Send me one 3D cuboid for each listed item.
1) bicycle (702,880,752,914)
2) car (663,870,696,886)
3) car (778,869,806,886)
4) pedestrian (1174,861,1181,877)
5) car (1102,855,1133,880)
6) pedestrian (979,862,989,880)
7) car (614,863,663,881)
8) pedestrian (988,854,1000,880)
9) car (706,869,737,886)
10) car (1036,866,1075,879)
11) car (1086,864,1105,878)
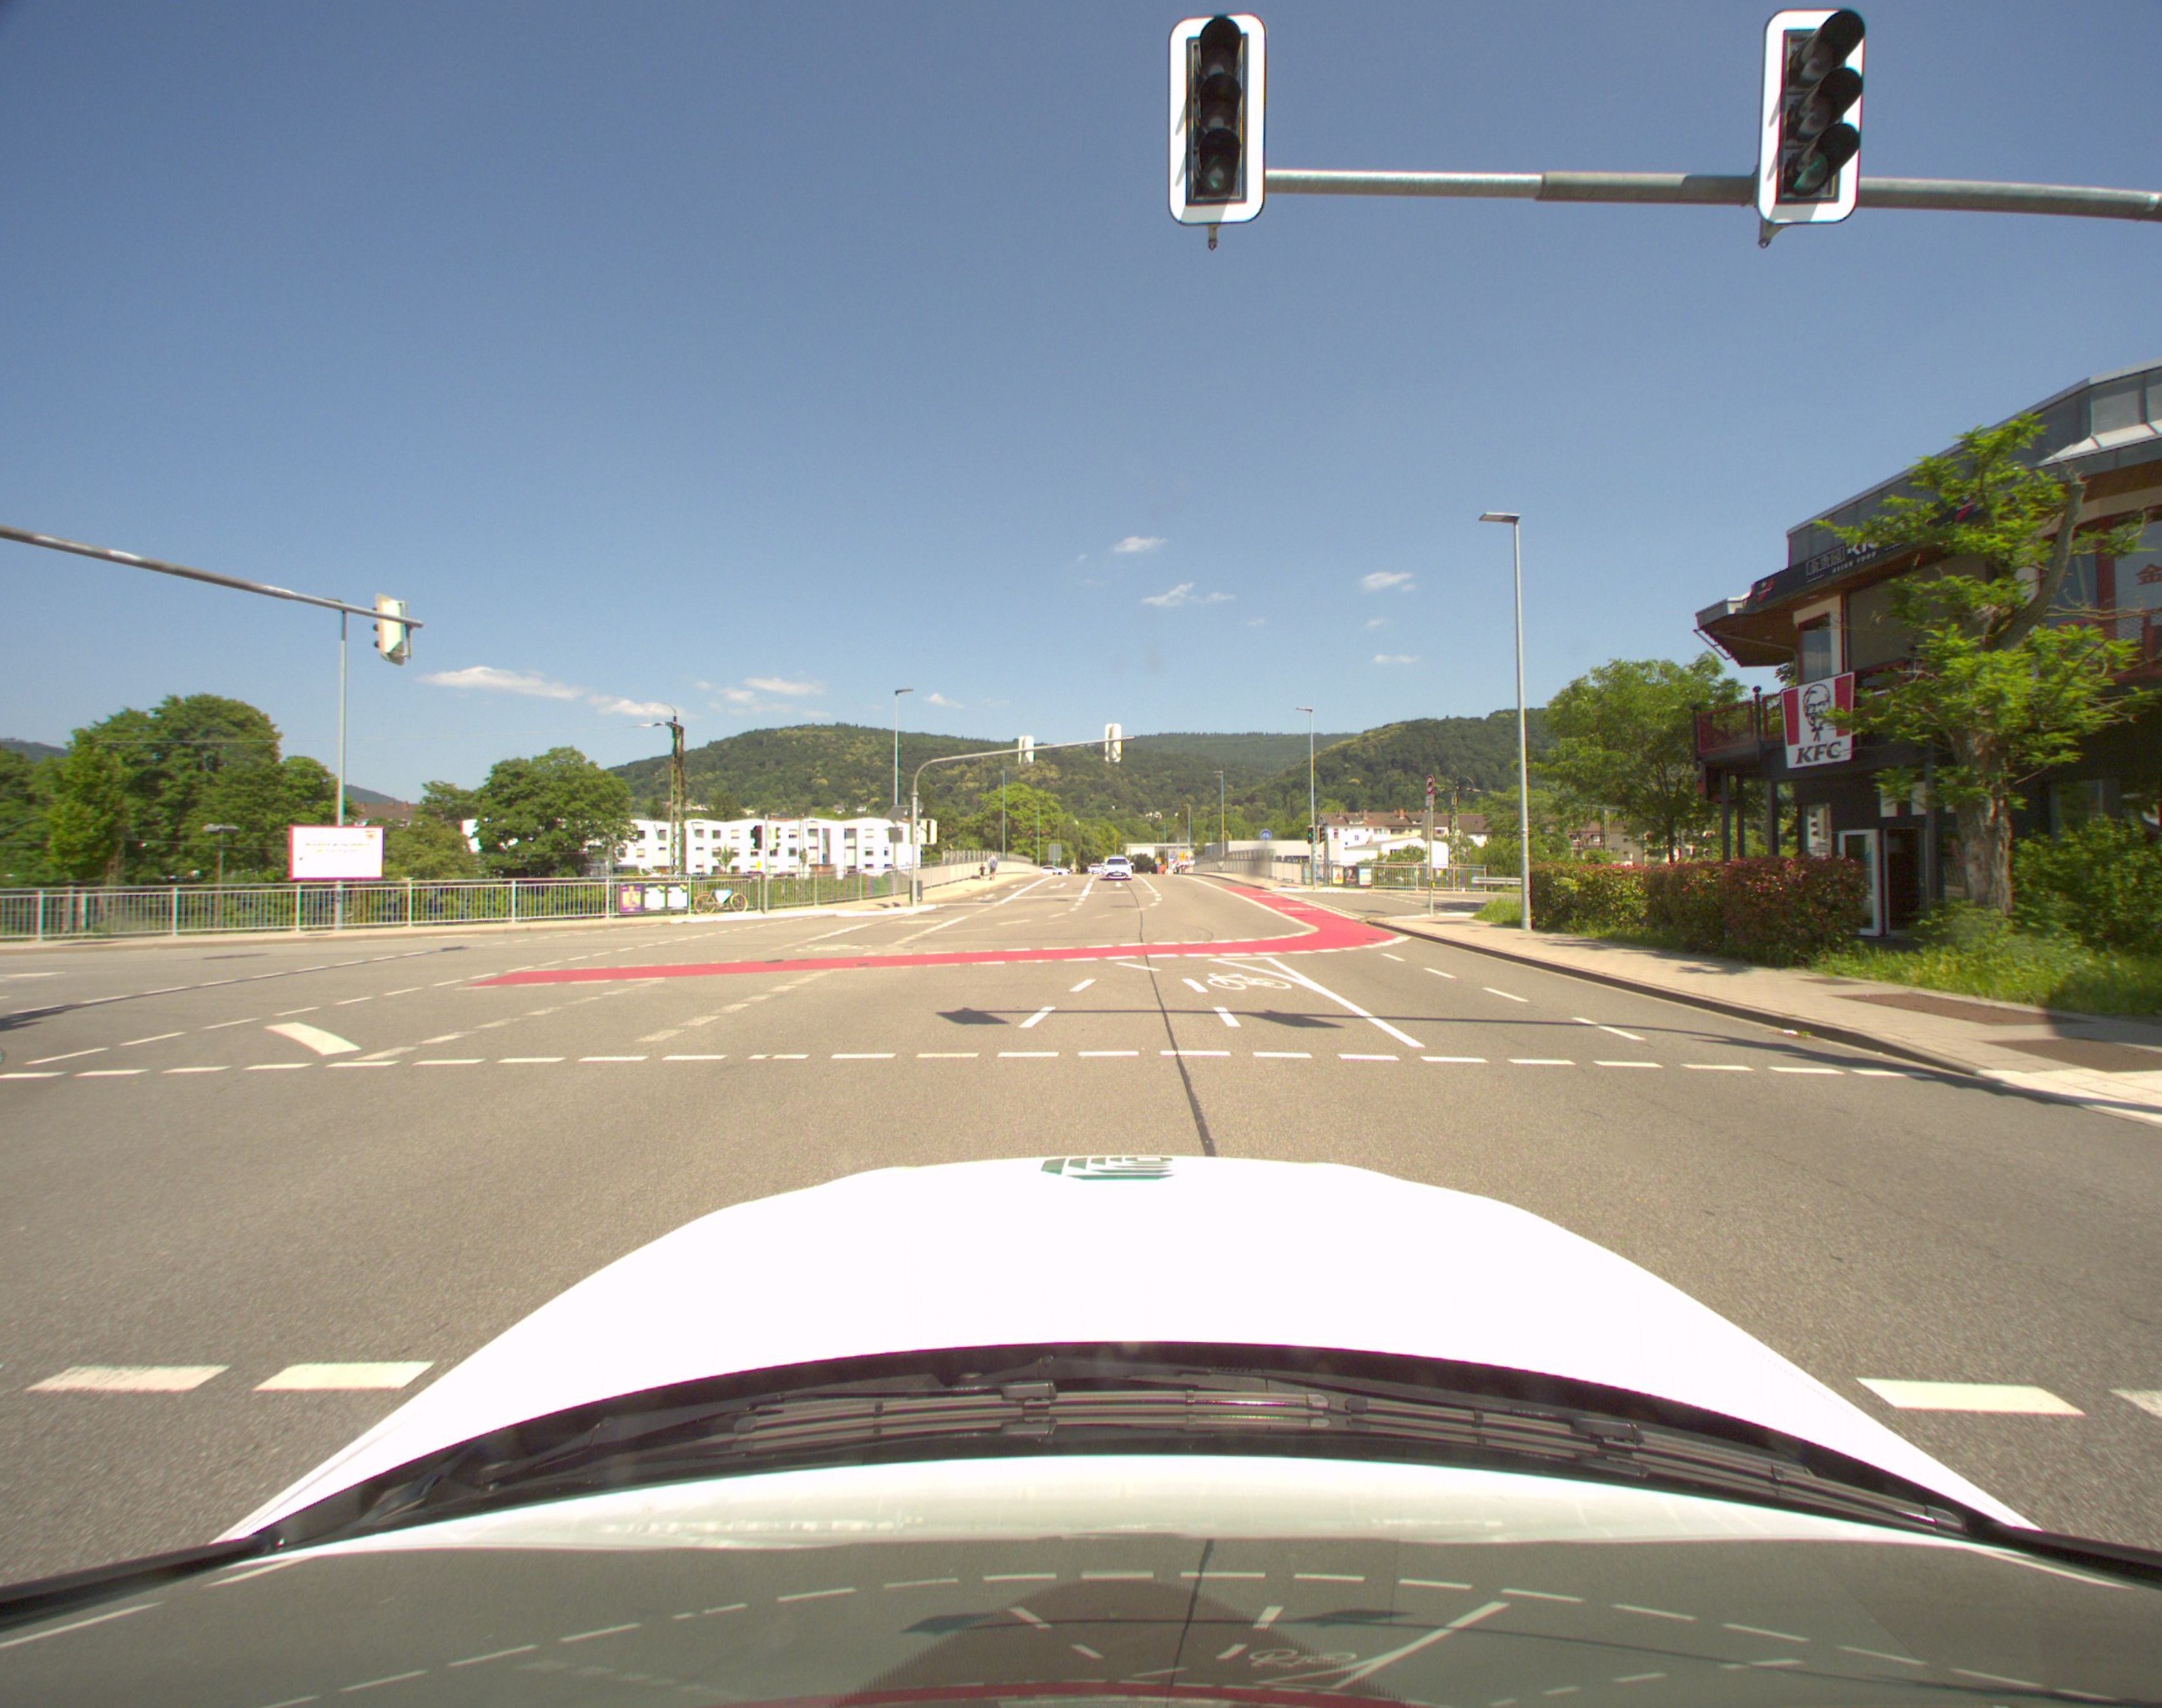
[{"bbox_3d":[-12.217,1.471,28.123,0.294,1.100,1.630,-1,-1,39],"label":"bicycle"},{"bbox_3d":[-51.903,3.055,105.387,1.987,2.014,4.469,0,-1,0],"label":"car"},{"bbox_3d":[-36.687,2.929,103.562,1.987,2.014,4.469,0,-1,0],"label":"car"},{"bbox_3d":[12.681,1.962,106.849,0.852,2.014,1.156,0,-1,1],"label":"pedestrian"},{"bbox_3d":[2.262,0.827,51.595,1.726,1.469,4.409,0,0,0],"label":"car"},{"bbox_3d":[-6.001,1.051,50.278,0.509,1.121,0.476,0,-1,1],"label":"pedestrian"},{"bbox_3d":[-53.944,2.210,99.324,4.988,2.113,1.988,0,-1,-18],"label":"car"},{"bbox_3d":[-5.393,0.806,50.526,0.641,1.618,0.921,0,-1,1],"label":"pedestrian"},{"bbox_3d":[-45.820,2.999,104.014,1.987,2.014,4.469,0,-1,0],"label":"car"},{"bbox_3d":[-3.438,2.481,110.088,4.998,1.719,2.012,-1,-1,28],"label":"car"},{"bbox_3d":[1.932,2.192,106.690,1.983,1.719,4.640,0,-1,6],"label":"car"}]
